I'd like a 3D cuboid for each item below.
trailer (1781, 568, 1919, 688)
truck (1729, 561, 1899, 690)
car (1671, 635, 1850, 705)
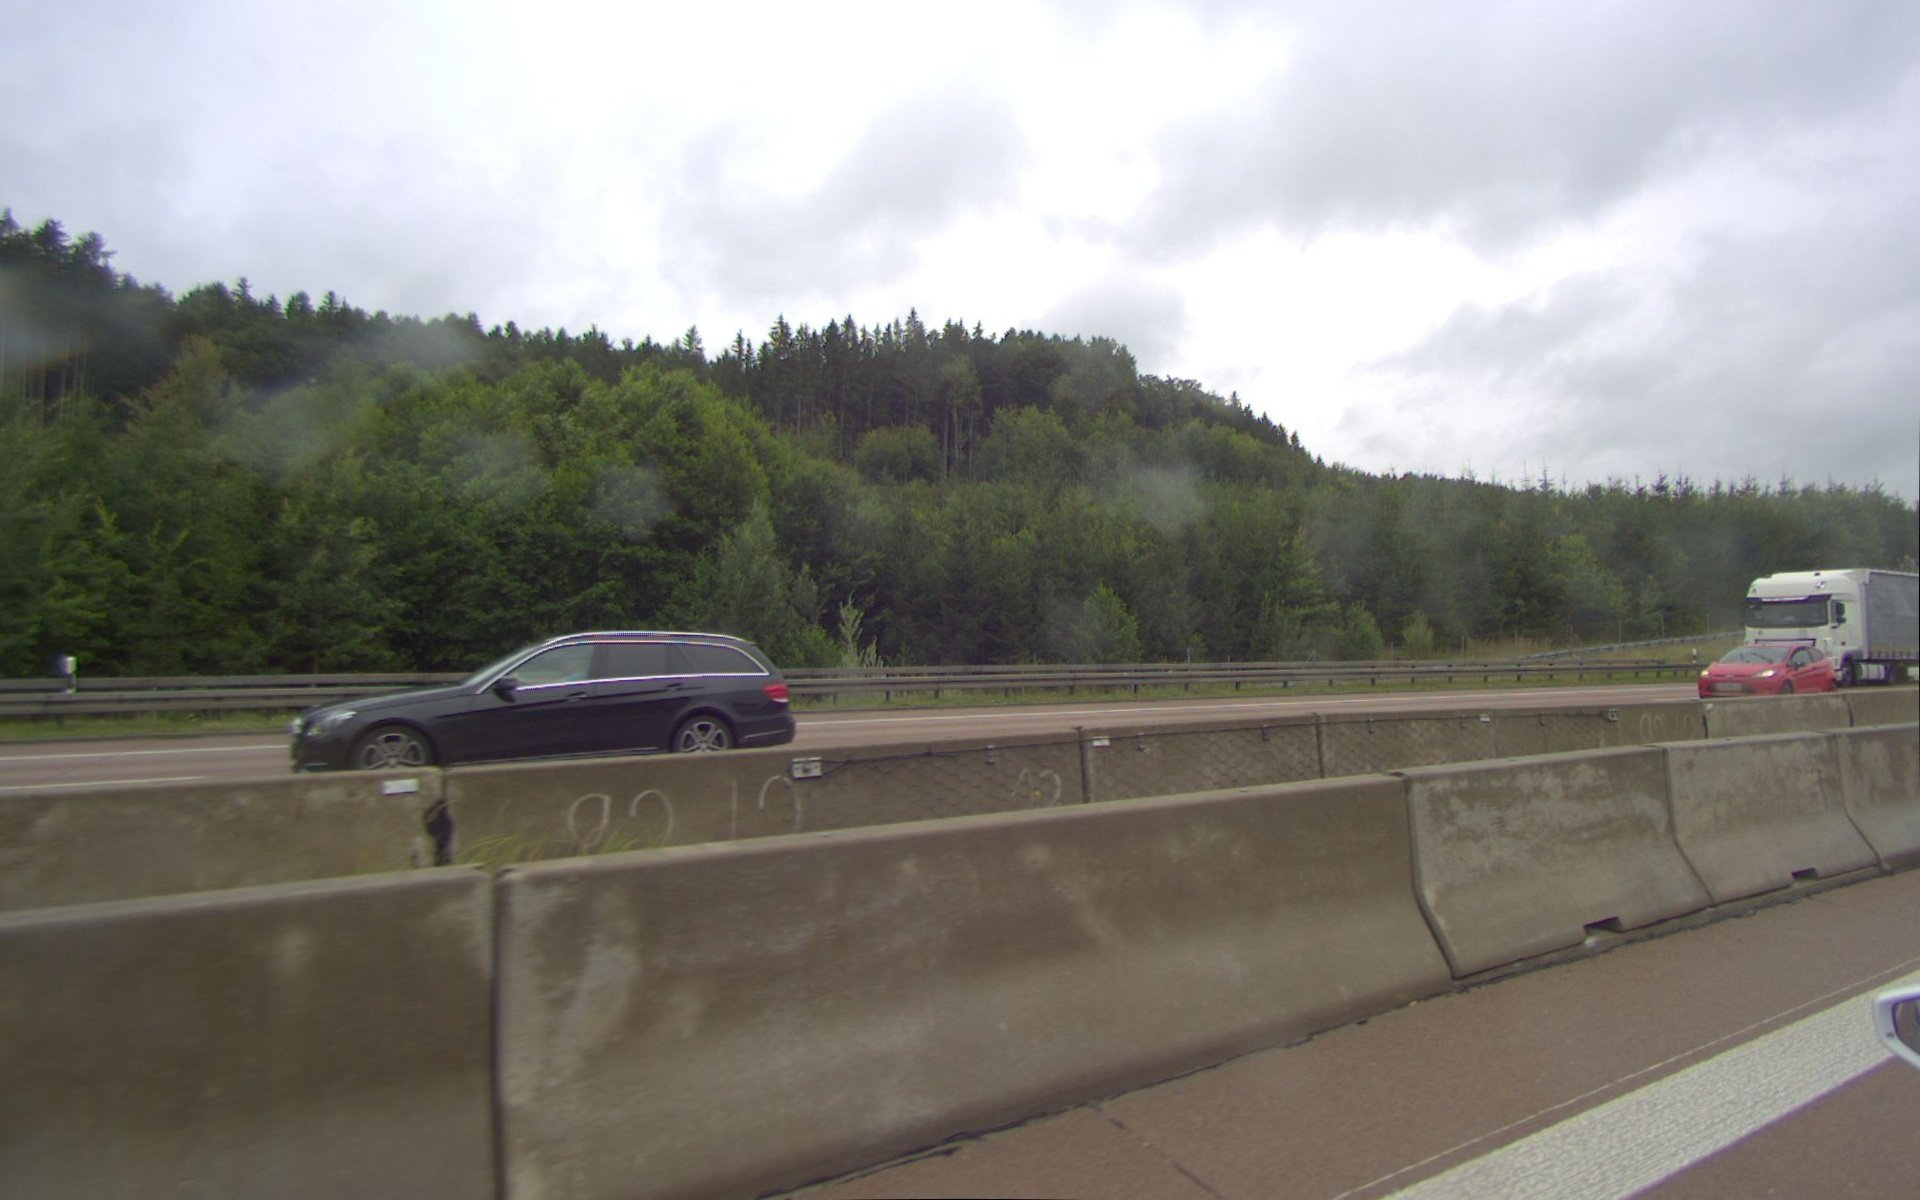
[{"bbox_3d":[36.782,1.305,39.451,12.606,4.193,2.727,3,-3,-30],"label":"trailer"},{"bbox_3d":[30.385,1.003,35.719,5.931,4.230,2.756,3,-3,-30],"label":"truck"},{"bbox_3d":[19.381,1.687,24.301,4.230,1.565,1.985,3,-4,-30],"label":"car"}]
